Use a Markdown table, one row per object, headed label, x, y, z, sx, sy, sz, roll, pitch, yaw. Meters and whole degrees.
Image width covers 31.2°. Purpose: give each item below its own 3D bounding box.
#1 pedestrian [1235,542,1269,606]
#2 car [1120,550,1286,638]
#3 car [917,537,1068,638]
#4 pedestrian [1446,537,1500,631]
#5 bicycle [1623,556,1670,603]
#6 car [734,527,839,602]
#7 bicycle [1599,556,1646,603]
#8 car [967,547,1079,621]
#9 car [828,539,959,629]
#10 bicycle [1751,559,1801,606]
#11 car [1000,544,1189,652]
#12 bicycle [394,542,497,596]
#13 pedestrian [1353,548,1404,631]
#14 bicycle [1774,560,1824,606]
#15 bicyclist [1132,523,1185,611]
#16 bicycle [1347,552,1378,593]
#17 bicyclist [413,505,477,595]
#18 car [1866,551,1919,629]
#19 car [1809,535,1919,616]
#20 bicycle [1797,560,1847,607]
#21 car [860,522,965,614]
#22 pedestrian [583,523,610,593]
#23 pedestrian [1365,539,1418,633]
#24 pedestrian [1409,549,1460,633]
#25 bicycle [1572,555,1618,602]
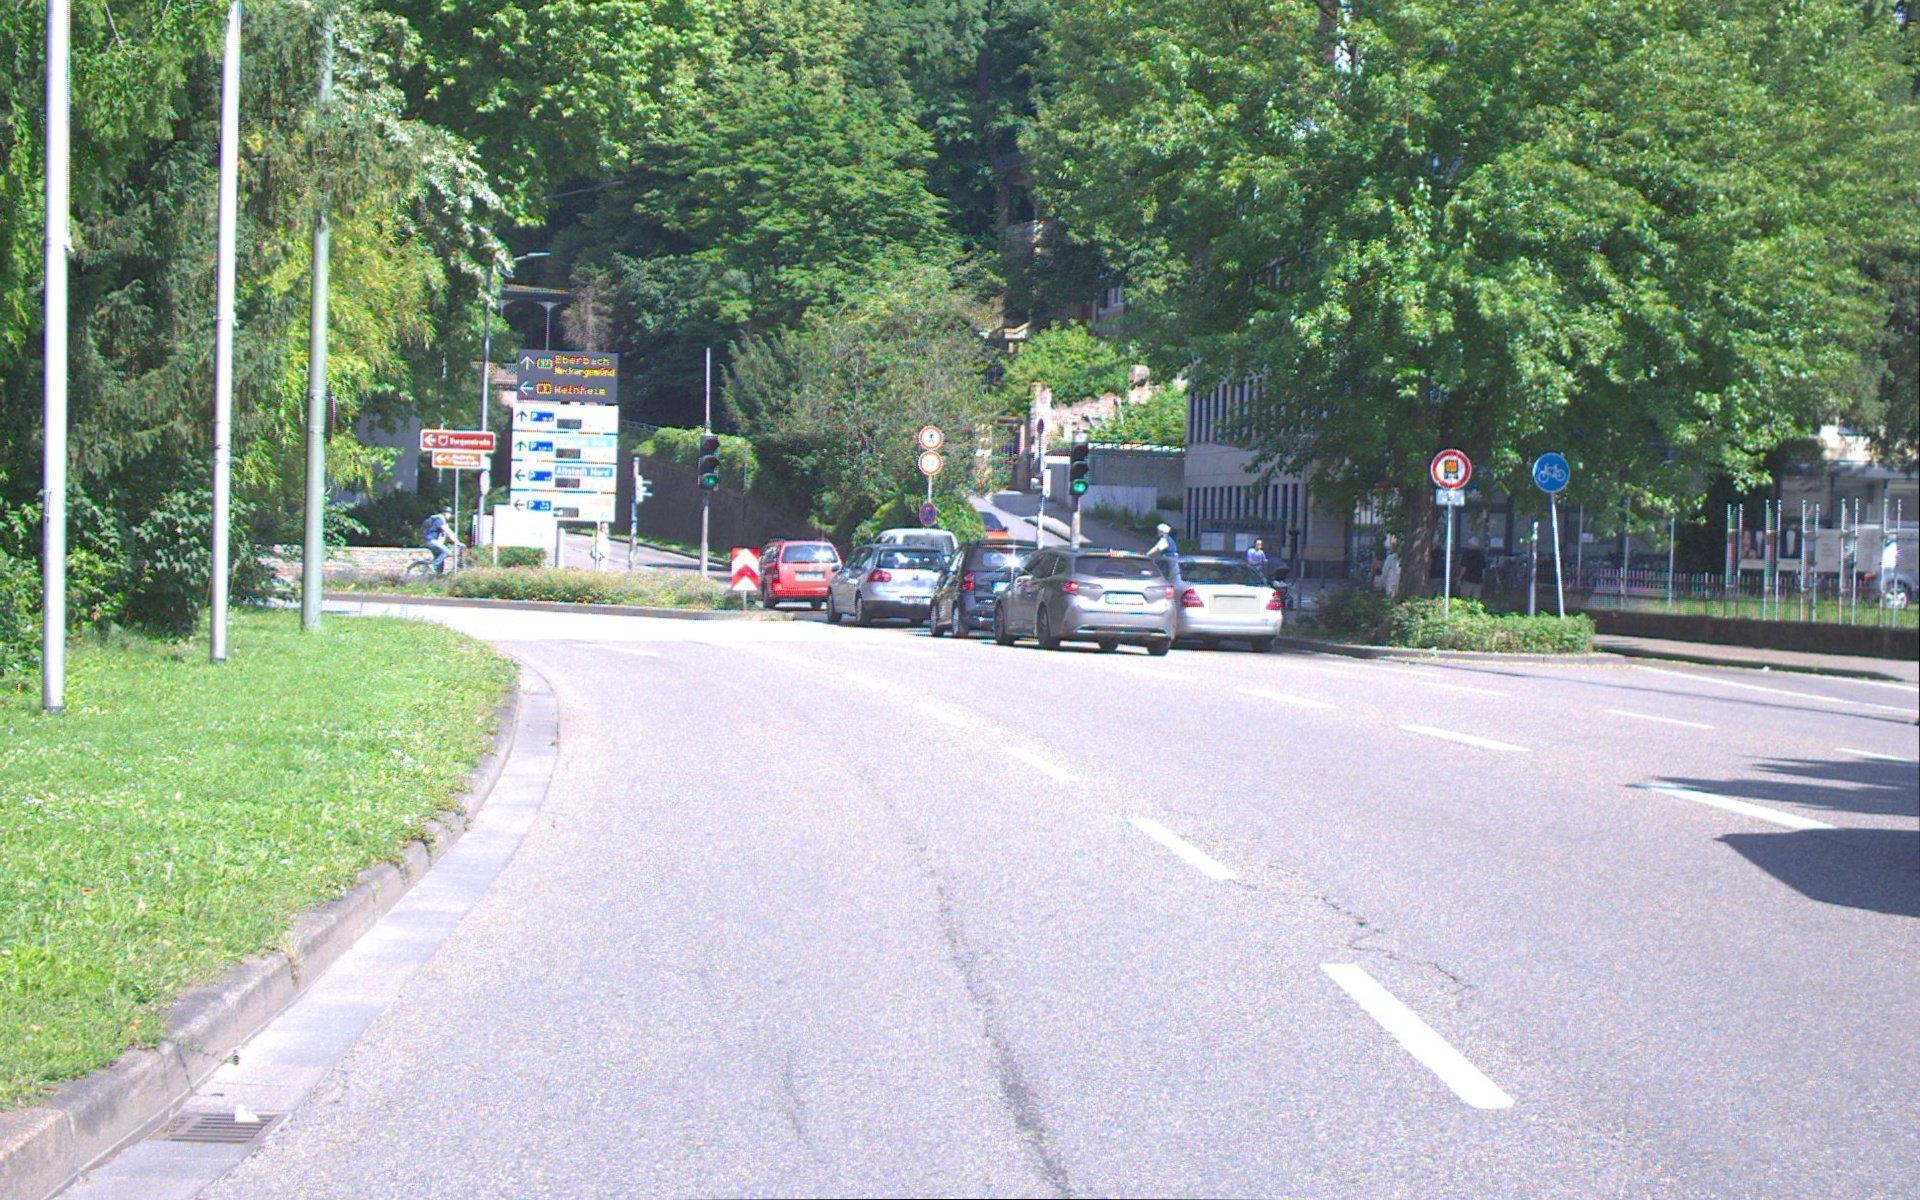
| label | x | y | z | sx | sy | sz | roll | pitch | yaw |
| --- | --- | --- | --- | --- | --- | --- | --- | --- | --- |
| pedestrian | 6.676 | -0.604 | 78.642 | 0.489 | 1.453 | 0.734 | 1 | 1 | -21 |
| car | 3.713 | -0.110 | 53.152 | 1.755 | 1.209 | 3.495 | 2 | 1 | -9 |
| car | 0.483 | -0.221 | 54.184 | 1.755 | 1.456 | 3.495 | 2 | 1 | -9 |
| pedestrian | 10.301 | -0.331 | 69.064 | 0.771 | 1.848 | 0.830 | 2 | 1 | -10 |
| bicycle | 16.534 | -0.492 | 82.860 | 0.537 | 1.081 | 1.835 | 1 | 1 | -7 |
| car | -3.627 | -0.758 | 71.550 | 1.755 | 1.456 | 3.495 | 2 | 1 | -9 |
| bicycle | 15.943 | -0.503 | 82.766 | 0.537 | 1.081 | 1.835 | 1 | 1 | -7 |
| car | 1.320 | -0.360 | 73.977 | 1.755 | 1.456 | 3.495 | 2 | 1 | -9 |
| car | -1.210 | -0.308 | 60.936 | 1.755 | 1.456 | 3.647 | 2 | 1 | -9 |
| bicycle | 19.681 | -0.425 | 82.946 | 0.537 | 1.081 | 1.835 | 1 | 1 | -7 |
| car | 1.815 | -0.053 | 47.632 | 1.755 | 1.329 | 3.803 | 2 | 1 | -11 |
| bicycle | -11.296 | -0.683 | 75.476 | 2.078 | 1.109 | 0.756 | 2 | 1 | 16 |
| pedestrian | 8.554 | -0.216 | 70.254 | 0.771 | 1.657 | 0.830 | 2 | 1 | -8 |
| bicycle | 20.271 | -0.414 | 83.093 | 0.537 | 1.081 | 1.835 | 1 | 1 | -7 |
| bicyclist | 4.497 | -0.744 | 77.699 | 1.126 | 1.926 | 0.748 | 2 | 1 | 4 |
| bicycle | 10.249 | -0.715 | 87.536 | 0.405 | 1.009 | 1.341 | 1 | 1 | -9 |
| bicyclist | -11.309 | -1.101 | 75.472 | 1.127 | 1.926 | 0.747 | 2 | 1 | 16 |
| car | 18.523 | -0.137 | 60.763 | 4.465 | 1.331 | 1.822 | 1 | 1 | -11 |
| car | 18.567 | -0.438 | 65.606 | 4.141 | 1.470 | 1.878 | 1 | 1 | -13 |
| bicycle | 20.854 | -0.403 | 83.204 | 0.537 | 1.081 | 1.835 | 1 | 1 | -7 |
| car | -1.072 | -0.730 | 76.233 | 1.755 | 1.931 | 3.495 | 2 | 1 | -9 |
| pedestrian | -8.543 | -0.988 | 80.822 | 0.547 | 1.615 | 0.634 | 1 | 1 | 0 |
| pedestrian | 8.681 | -0.289 | 69.172 | 0.771 | 1.848 | 0.830 | 2 | 1 | -9 |
| pedestrian | 9.581 | -0.180 | 69.460 | 0.771 | 1.657 | 0.830 | 2 | 1 | -7 |
| bicycle | 15.271 | -0.516 | 82.672 | 0.537 | 1.081 | 1.835 | 1 | 1 | -7 |
